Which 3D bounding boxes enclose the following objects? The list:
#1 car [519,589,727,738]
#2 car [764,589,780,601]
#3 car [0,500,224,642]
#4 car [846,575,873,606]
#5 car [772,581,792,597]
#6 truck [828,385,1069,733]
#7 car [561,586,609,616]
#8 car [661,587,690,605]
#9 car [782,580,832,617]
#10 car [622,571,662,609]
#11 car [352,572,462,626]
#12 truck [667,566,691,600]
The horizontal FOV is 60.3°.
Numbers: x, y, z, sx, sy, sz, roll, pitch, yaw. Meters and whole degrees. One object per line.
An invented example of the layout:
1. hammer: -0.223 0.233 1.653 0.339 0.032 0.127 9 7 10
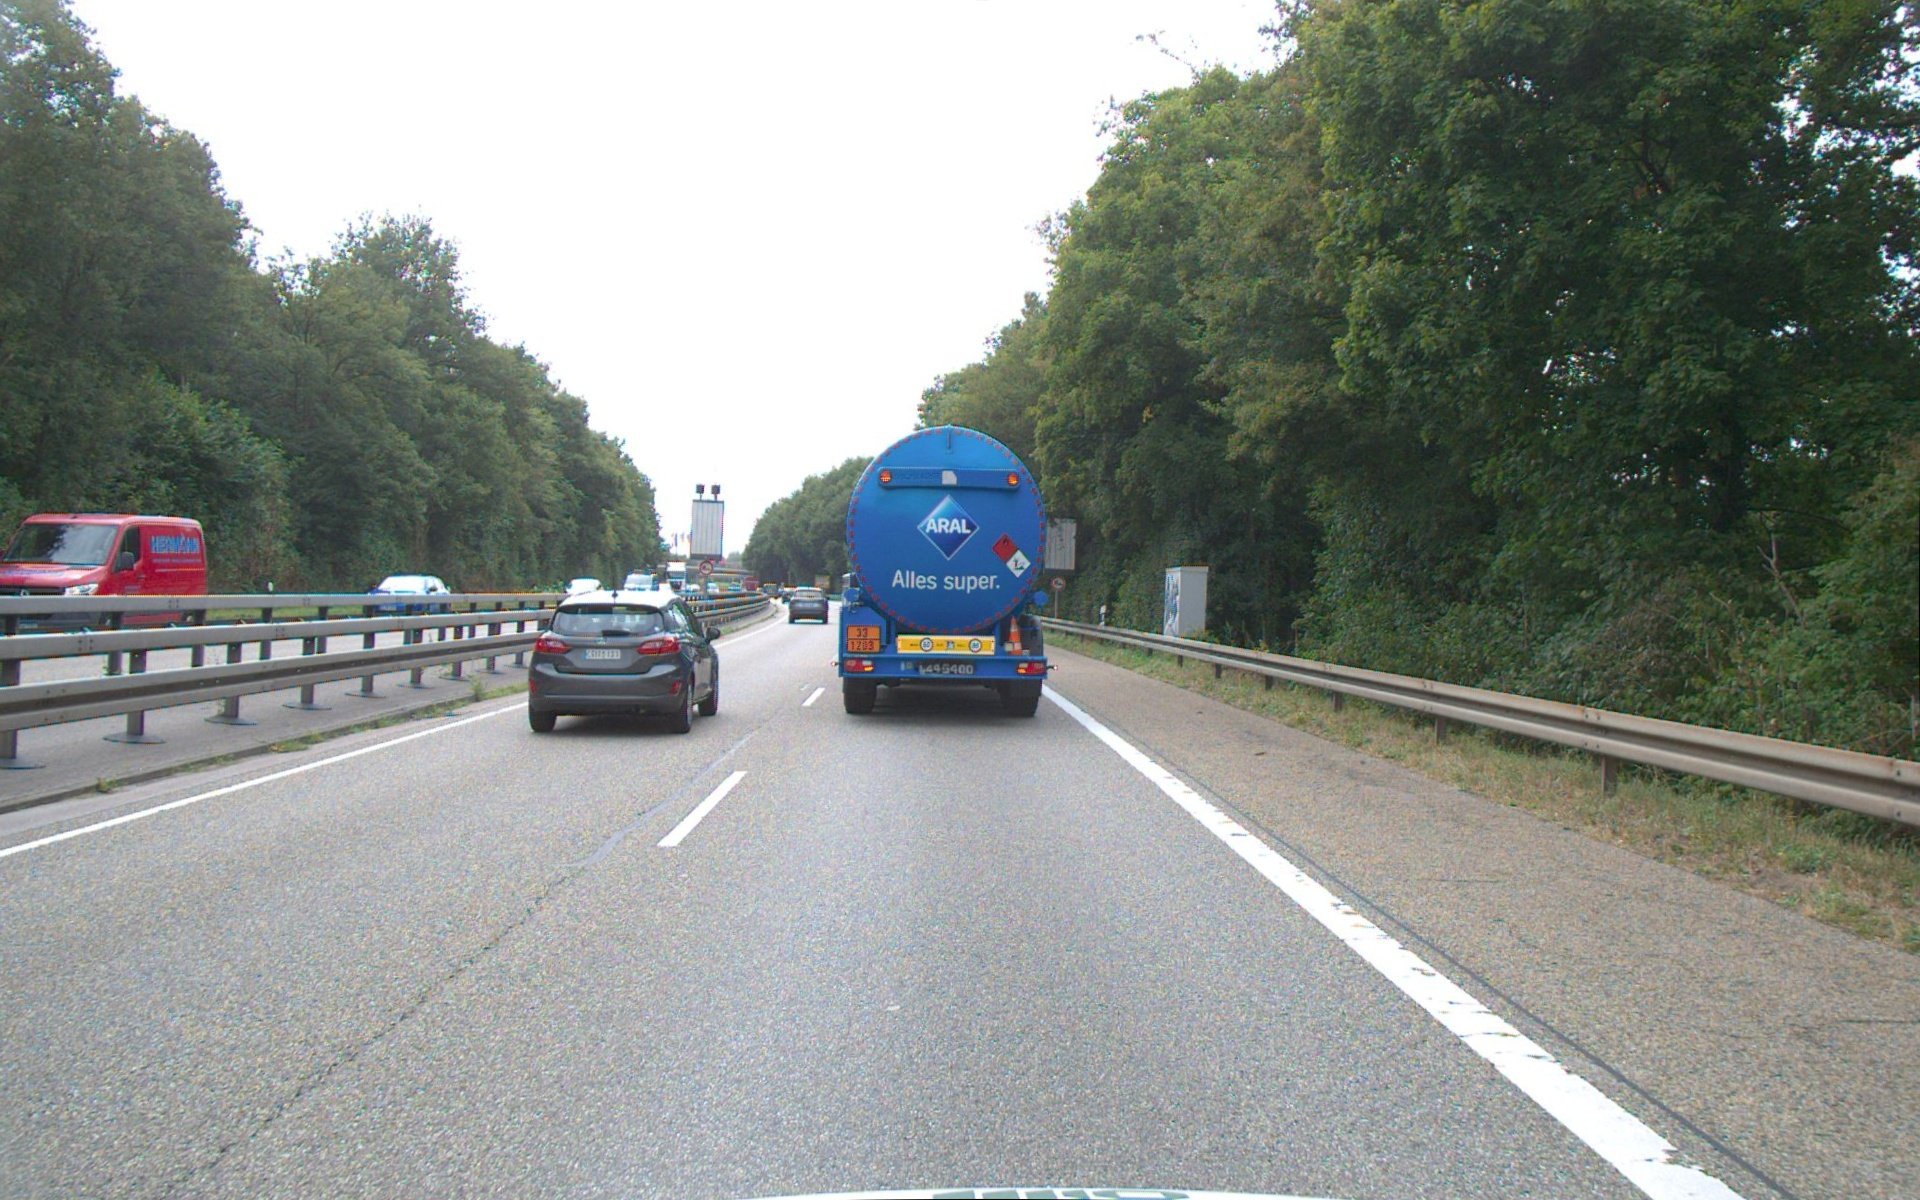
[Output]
1. car: -3.688 0.639 18.861 1.790 1.483 4.634 0 0 -5
2. car: -24.771 -0.624 217.694 1.956 1.579 3.993 0 0 -7
3. car: -15.243 -0.467 29.429 2.024 2.295 5.372 0 0 -2
4. car: -7.555 -0.709 124.343 1.954 2.284 3.996 0 0 -5
5. car: -17.673 -1.075 163.817 1.917 1.595 3.994 0 0 -6
6. truck: -0.086 -0.490 22.553 2.698 3.914 7.689 0 0 1
7. car: -19.102 0.055 84.443 1.660 1.492 4.087 0 0 -2
8. car: -23.874 -0.345 138.740 1.954 1.507 4.128 0 0 -4
9. car: -6.959 -0.081 75.541 1.788 1.637 4.168 0 0 1
10. car: -20.069 -0.619 104.561 1.897 2.362 5.300 0 0 -4
11. car: -16.811 -0.026 50.533 1.953 1.536 4.503 0 0 -2
12. truck: -35.507 -2.107 209.237 2.641 4.134 5.315 0 0 -6
